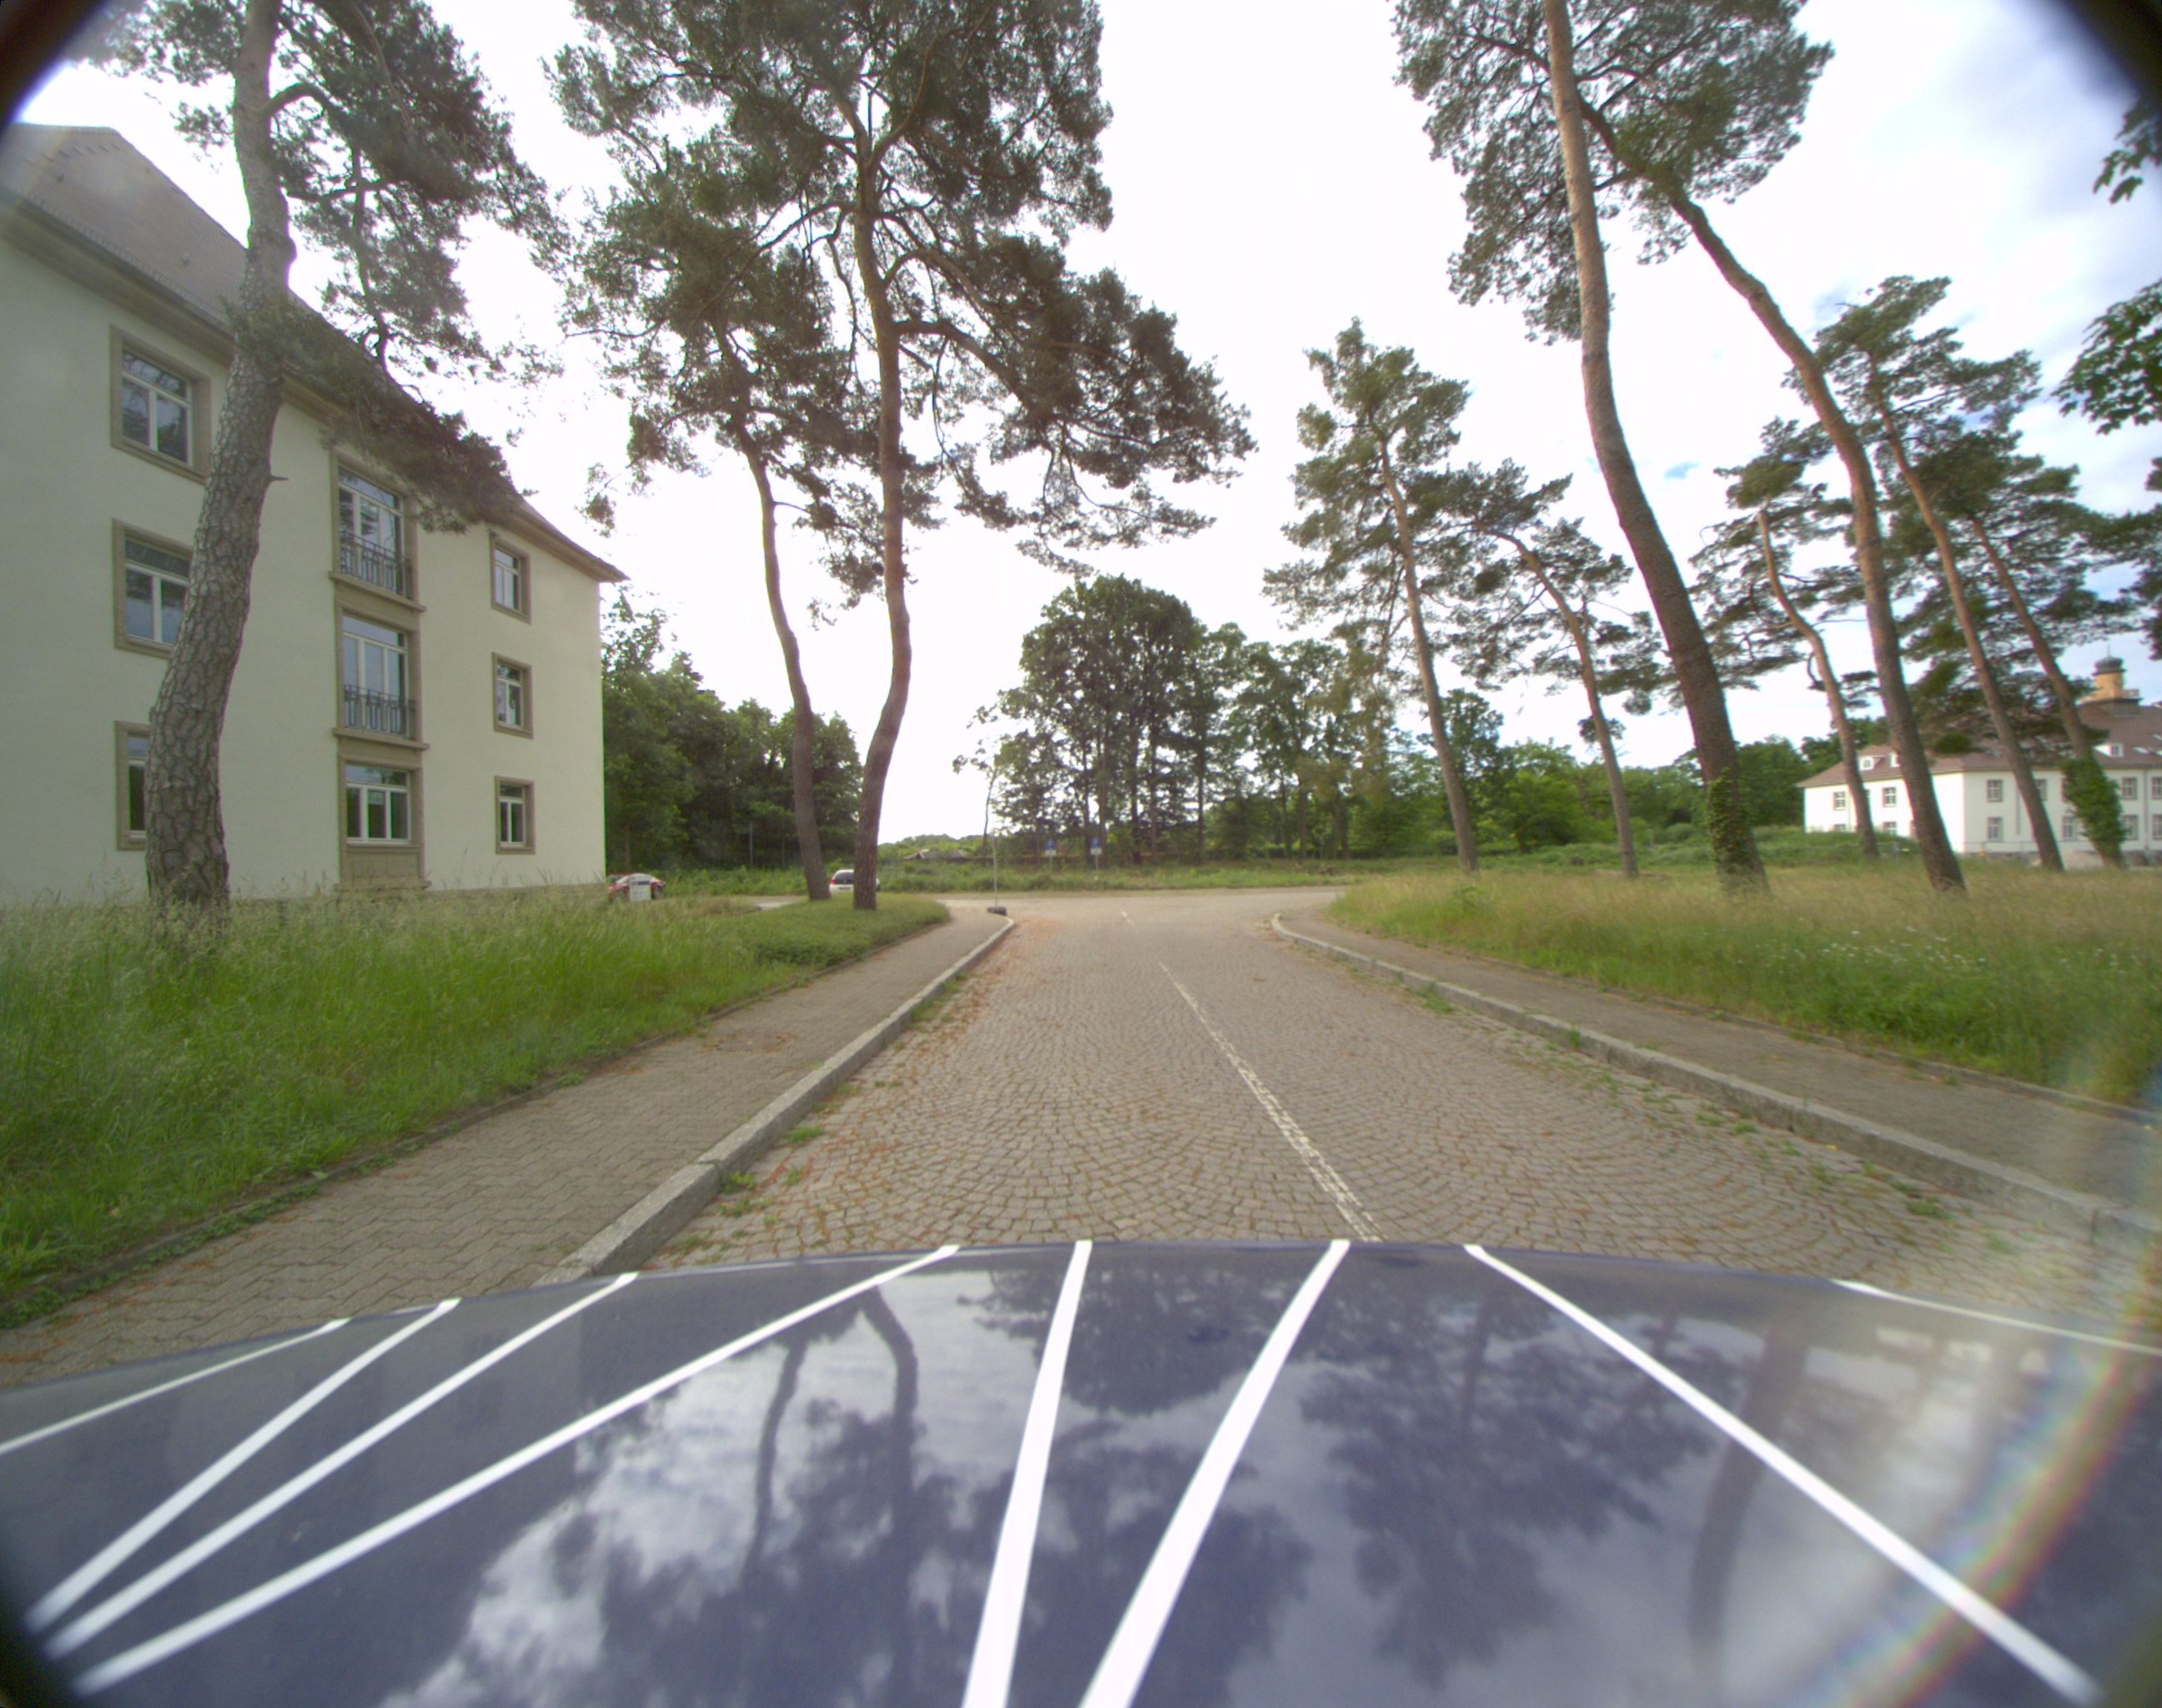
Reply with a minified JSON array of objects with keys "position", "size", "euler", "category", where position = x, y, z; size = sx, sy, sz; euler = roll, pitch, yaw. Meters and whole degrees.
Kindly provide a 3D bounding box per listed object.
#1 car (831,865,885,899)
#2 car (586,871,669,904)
[{"position":[-11.097,1.356,37.943],"size":[1.641,1.426,3.277],"euler":[-1,2,1],"category":"car"},{"position":[-22.402,1.599,37.729],"size":[1.641,1.321,3.999],"euler":[-1,2,1],"category":"car"}]
